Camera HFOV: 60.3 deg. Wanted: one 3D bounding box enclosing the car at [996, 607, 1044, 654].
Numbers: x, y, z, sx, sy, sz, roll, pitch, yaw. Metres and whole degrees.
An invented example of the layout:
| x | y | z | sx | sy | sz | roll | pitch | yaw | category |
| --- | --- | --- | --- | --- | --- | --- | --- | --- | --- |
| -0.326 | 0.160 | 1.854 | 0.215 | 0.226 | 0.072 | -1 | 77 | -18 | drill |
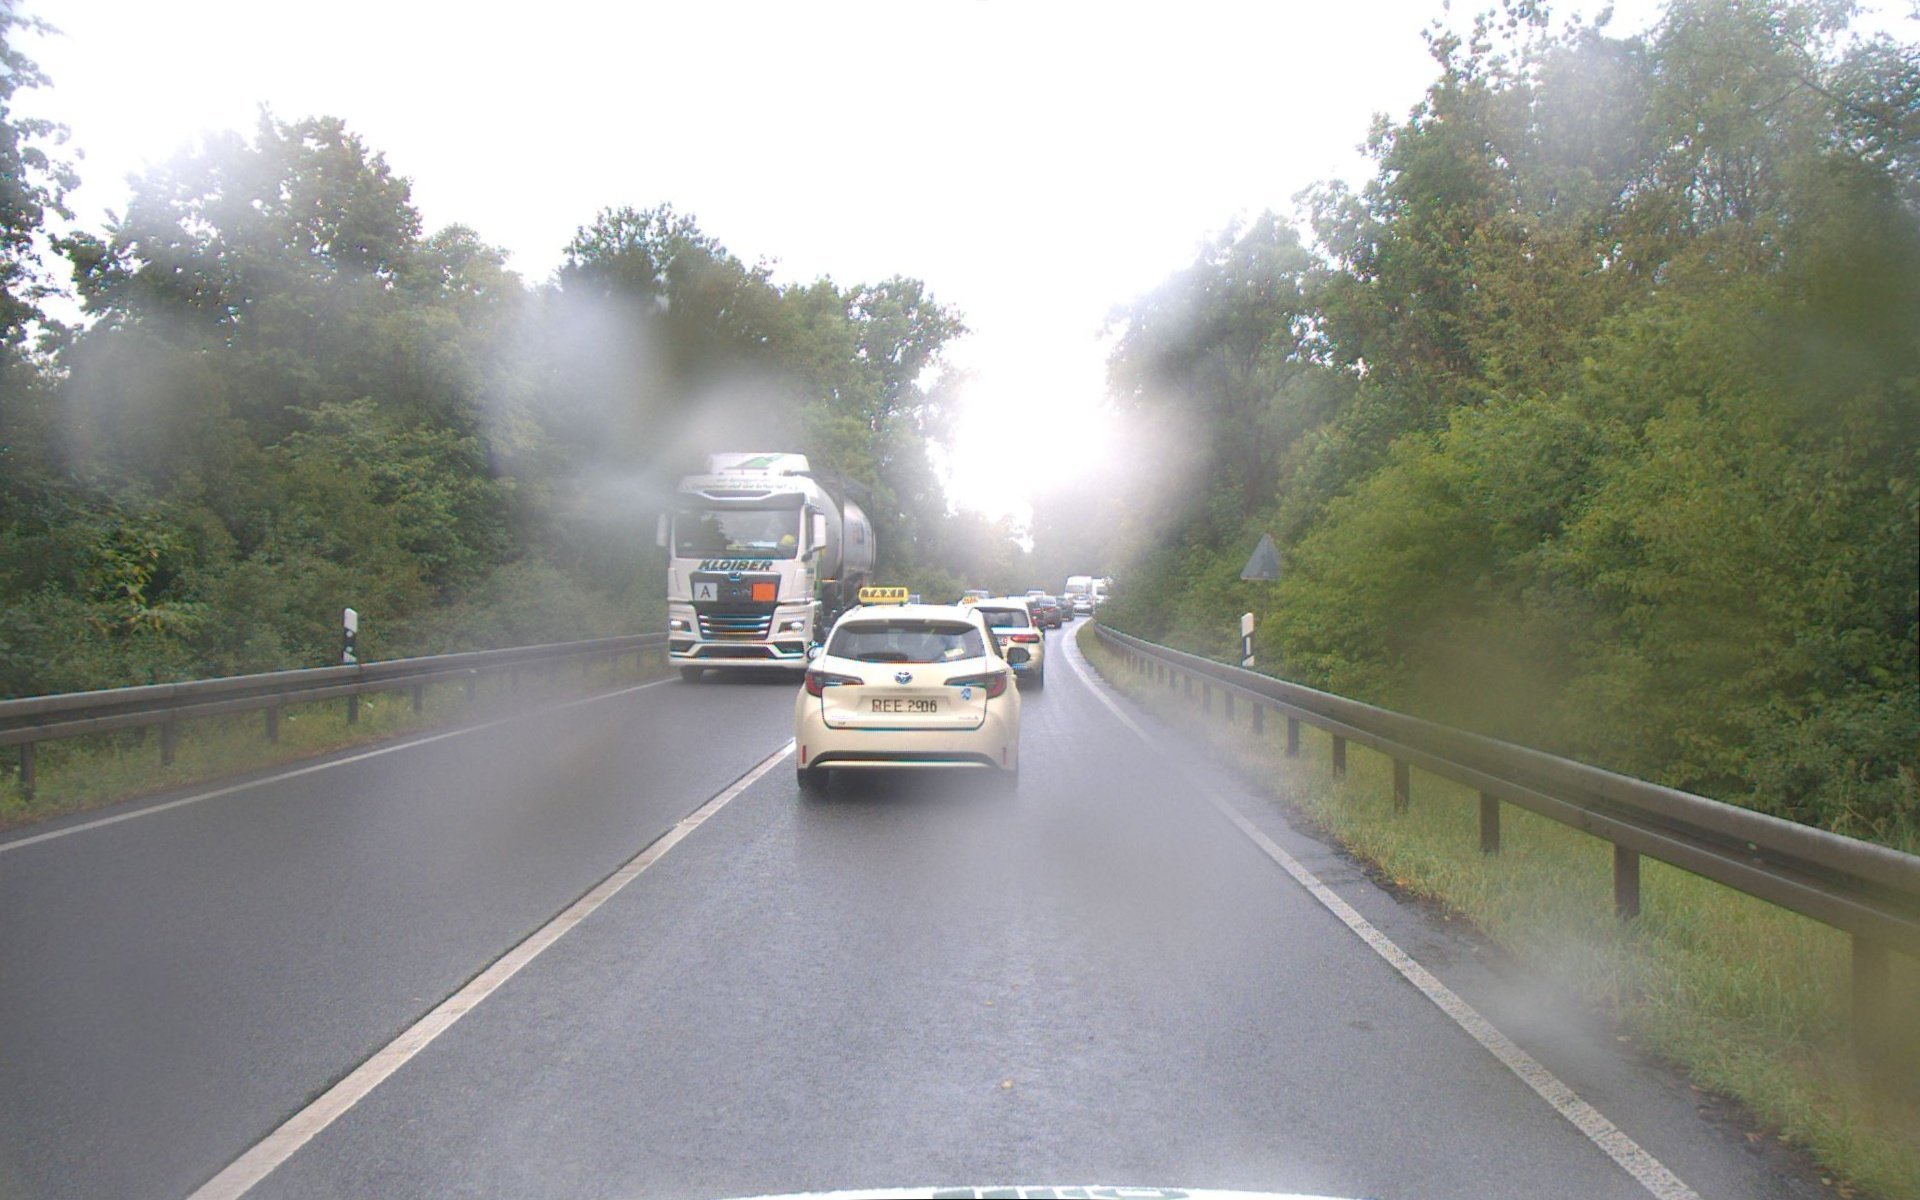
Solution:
| x | y | z | sx | sy | sz | roll | pitch | yaw | category |
| --- | --- | --- | --- | --- | --- | --- | --- | --- | --- |
| 2.081 | 1.033 | 58.027 | 1.578 | 1.574 | 3.814 | 0 | 0 | 1 | car |

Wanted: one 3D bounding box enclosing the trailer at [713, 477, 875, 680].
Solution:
| x | y | z | sx | sy | sz | roll | pitch | yaw | category |
| --- | --- | --- | --- | --- | --- | --- | --- | --- | --- |
| -3.405 | -0.387 | 35.839 | 2.484 | 3.892 | 7.792 | 1 | -1 | 1 | trailer |

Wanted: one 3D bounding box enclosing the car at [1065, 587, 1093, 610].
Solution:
| x | y | z | sx | sy | sz | roll | pitch | yaw | category |
| --- | --- | --- | --- | --- | --- | --- | --- | --- | --- |
| 8.323 | -0.087 | 115.250 | 1.732 | 1.574 | 3.816 | 1 | -1 | 7 | car |

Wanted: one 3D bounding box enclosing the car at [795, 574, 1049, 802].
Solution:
| x | y | z | sx | sy | sz | roll | pitch | yaw | category |
| --- | --- | --- | --- | --- | --- | --- | --- | --- | --- |
| -0.297 | 0.649 | 13.986 | 1.796 | 1.608 | 4.156 | 1 | -1 | -1 | car |

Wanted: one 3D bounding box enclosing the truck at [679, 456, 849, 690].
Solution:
| x | y | z | sx | sy | sz | roll | pitch | yaw | category |
| --- | --- | --- | --- | --- | --- | --- | --- | --- | --- |
| -3.473 | -0.433 | 30.453 | 2.484 | 3.892 | 5.244 | 1 | -1 | 0 | truck |

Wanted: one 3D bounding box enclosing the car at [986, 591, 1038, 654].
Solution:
| x | y | z | sx | sy | sz | roll | pitch | yaw | category |
| --- | --- | --- | --- | --- | --- | --- | --- | --- | --- |
| 1.353 | 0.574 | 43.149 | 1.273 | 1.574 | 3.260 | 1 | -1 | 1 | car |

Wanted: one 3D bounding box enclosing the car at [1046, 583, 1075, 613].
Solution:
| x | y | z | sx | sy | sz | roll | pitch | yaw | category |
| --- | --- | --- | --- | --- | --- | --- | --- | --- | --- |
| 5.754 | -0.110 | 95.052 | 1.582 | 1.641 | 3.623 | 1 | -1 | 3 | car |

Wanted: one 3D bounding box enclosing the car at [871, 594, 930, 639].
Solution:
| x | y | z | sx | sy | sz | roll | pitch | yaw | category |
| --- | --- | --- | --- | --- | --- | --- | --- | --- | --- |
| -2.081 | 0.584 | 58.867 | 1.671 | 1.542 | 3.914 | 1 | -1 | 4 | car |

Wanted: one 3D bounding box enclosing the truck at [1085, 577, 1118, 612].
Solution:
| x | y | z | sx | sy | sz | roll | pitch | yaw | category |
| --- | --- | --- | --- | --- | --- | --- | --- | --- | --- |
| 11.725 | -0.442 | 137.559 | 2.496 | 2.760 | 7.538 | 1 | -1 | 4 | truck |

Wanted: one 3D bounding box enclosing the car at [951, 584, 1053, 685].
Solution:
| x | y | z | sx | sy | sz | roll | pitch | yaw | category |
| --- | --- | --- | --- | --- | --- | --- | --- | --- | --- |
| 0.764 | 0.580 | 28.968 | 1.633 | 1.608 | 3.893 | 1 | -1 | 2 | car |

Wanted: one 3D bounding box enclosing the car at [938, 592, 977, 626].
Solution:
| x | y | z | sx | sy | sz | roll | pitch | yaw | category |
| --- | --- | --- | --- | --- | --- | --- | --- | --- | --- |
| -0.098 | 0.428 | 84.687 | 1.808 | 1.672 | 4.299 | 1 | 0 | 2 | car |

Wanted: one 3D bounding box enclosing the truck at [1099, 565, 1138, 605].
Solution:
| x | y | z | sx | sy | sz | roll | pitch | yaw | category |
| --- | --- | --- | --- | --- | --- | --- | --- | --- | --- |
| 15.274 | -1.412 | 159.315 | 3.041 | 3.745 | 7.006 | 1 | -1 | 11 | truck |

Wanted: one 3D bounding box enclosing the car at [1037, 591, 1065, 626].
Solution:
| x | y | z | sx | sy | sz | roll | pitch | yaw | category |
| --- | --- | --- | --- | --- | --- | --- | --- | --- | --- |
| 4.229 | 0.389 | 76.965 | 1.142 | 1.574 | 2.606 | 1 | -1 | 6 | car |
